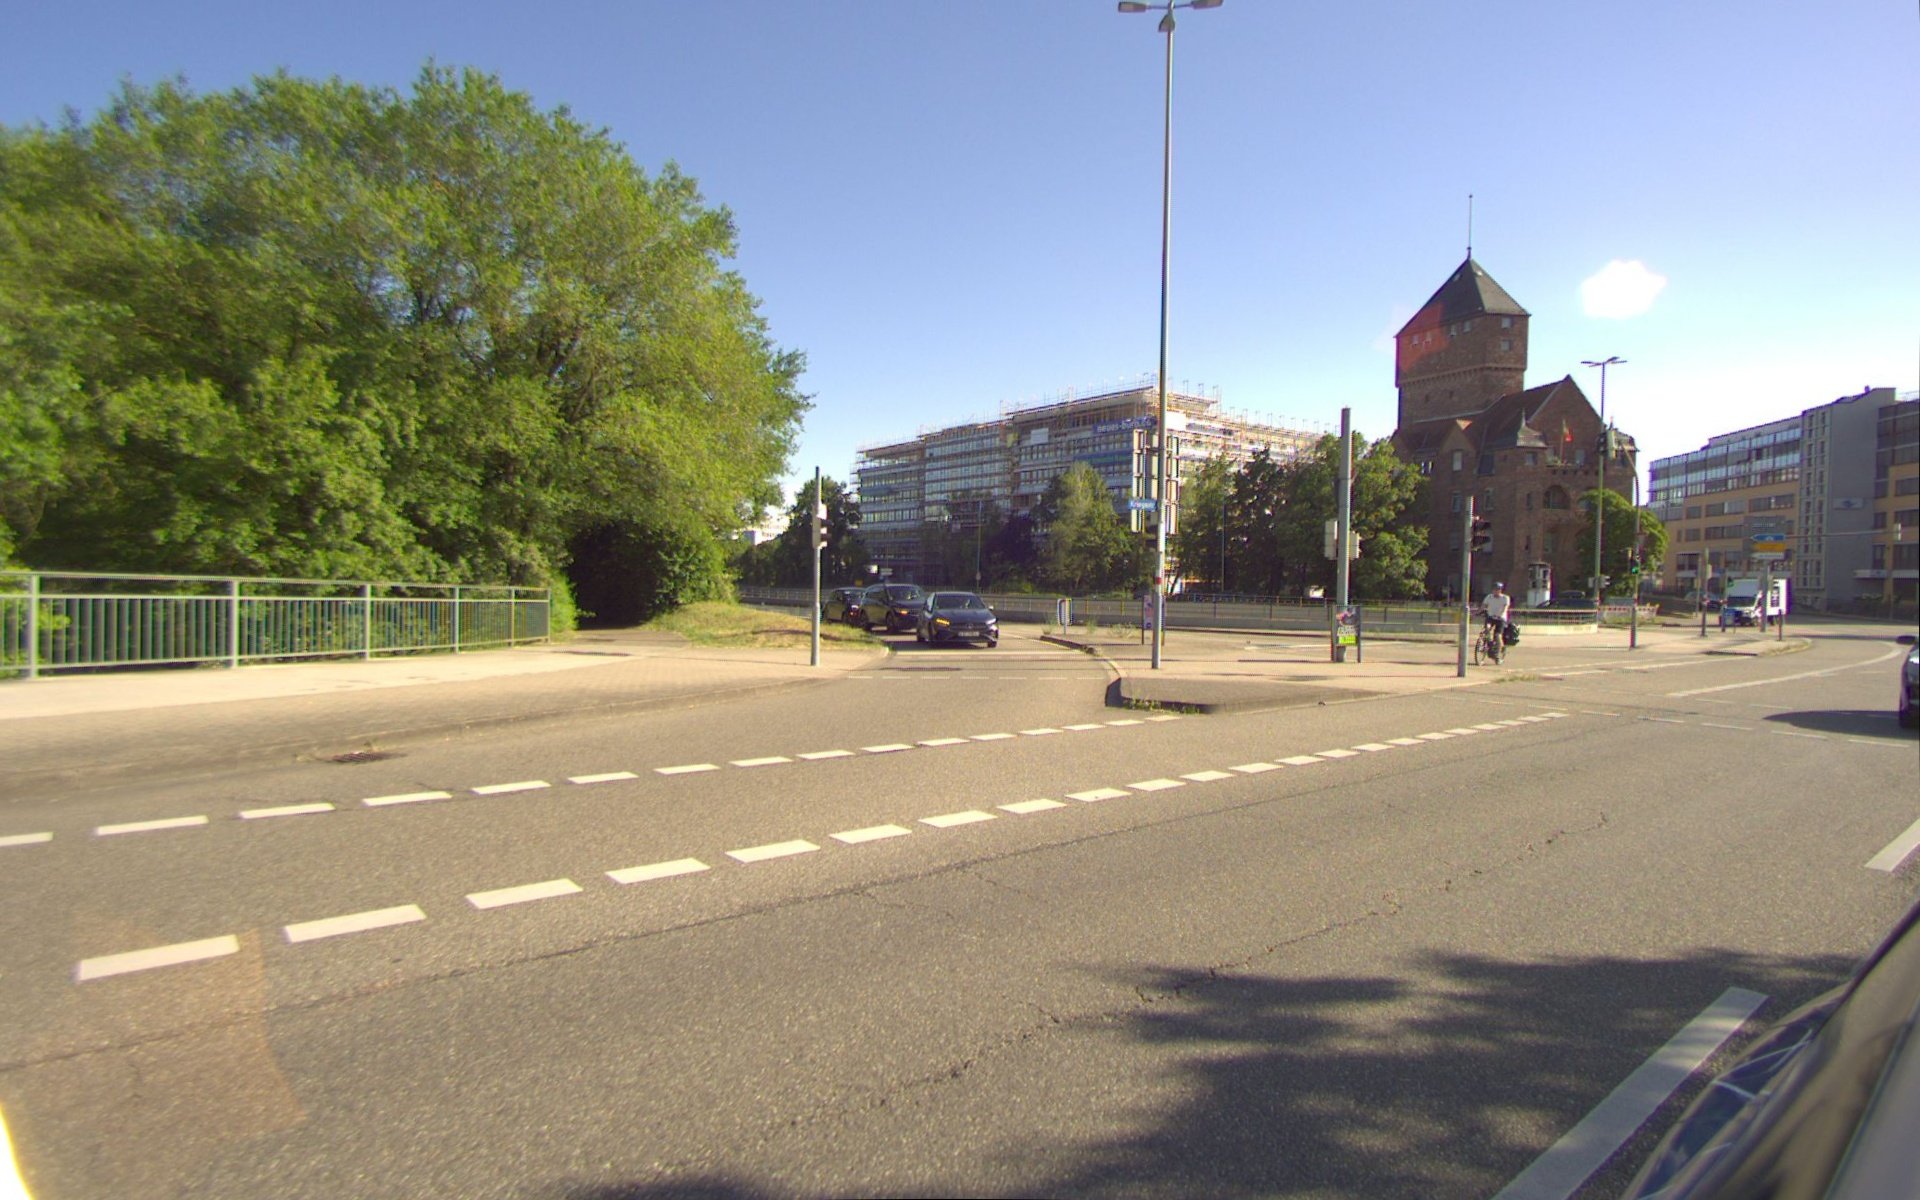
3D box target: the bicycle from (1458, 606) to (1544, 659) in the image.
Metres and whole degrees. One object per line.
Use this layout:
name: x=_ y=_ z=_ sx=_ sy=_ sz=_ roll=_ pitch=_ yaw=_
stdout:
bicycle: x=12.053 y=0.710 z=22.548 sx=1.788 sy=1.116 sz=0.695 roll=0 pitch=0 yaw=-20

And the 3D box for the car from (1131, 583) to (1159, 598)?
car: x=18.146 y=-0.942 z=98.935 sx=1.977 sy=1.472 sz=3.754 roll=2 pitch=1 yaw=22

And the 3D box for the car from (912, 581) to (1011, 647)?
car: x=-0.053 y=0.317 z=27.299 sx=1.822 sy=1.571 sz=4.254 roll=1 pitch=1 yaw=-12

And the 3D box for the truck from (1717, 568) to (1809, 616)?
truck: x=54.944 y=-0.557 z=69.187 sx=6.820 sy=3.167 sz=2.507 roll=0 pitch=1 yaw=-30

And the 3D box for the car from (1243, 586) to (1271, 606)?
car: x=25.344 y=-0.365 z=86.311 sx=1.977 sy=1.581 sz=3.754 roll=2 pitch=1 yaw=22

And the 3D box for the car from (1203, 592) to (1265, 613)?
car: x=21.813 y=0.175 z=80.701 sx=1.844 sy=1.489 sz=4.637 roll=0 pitch=2 yaw=-35

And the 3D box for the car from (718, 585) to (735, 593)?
car: x=-42.520 y=-1.979 z=184.161 sx=1.960 sy=1.415 sz=4.005 roll=-2 pitch=2 yaw=-29

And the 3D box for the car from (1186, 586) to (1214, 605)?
car: x=21.904 y=-0.426 z=92.285 sx=1.977 sy=1.581 sz=3.754 roll=2 pitch=1 yaw=22

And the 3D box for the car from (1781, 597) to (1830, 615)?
car: x=82.613 y=0.588 z=98.923 sx=1.851 sy=1.542 sz=4.148 roll=1 pitch=1 yaw=11

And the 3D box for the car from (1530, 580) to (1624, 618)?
car: x=39.659 y=-0.098 z=65.153 sx=4.714 sy=2.289 sz=1.944 roll=1 pitch=1 yaw=14

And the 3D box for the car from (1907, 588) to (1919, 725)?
car: x=13.585 y=0.697 z=12.912 sx=4.126 sy=1.641 sz=1.877 roll=-1 pitch=2 yaw=-43

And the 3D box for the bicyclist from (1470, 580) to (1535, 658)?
bicyclist: x=12.088 y=0.411 z=22.546 sx=1.089 sy=1.680 sz=0.728 roll=0 pitch=0 yaw=-20

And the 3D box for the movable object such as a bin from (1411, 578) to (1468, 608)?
movable object such as a bin: x=40.272 y=-0.621 z=84.997 sx=1.958 sy=2.439 sz=4.009 roll=1 pitch=1 yaw=-22

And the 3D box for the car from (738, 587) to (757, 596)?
car: x=-35.503 y=-1.384 z=168.777 sx=1.960 sy=1.415 sz=4.005 roll=-2 pitch=2 yaw=-29

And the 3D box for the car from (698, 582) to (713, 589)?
car: x=-51.551 y=-2.938 z=204.857 sx=1.960 sy=1.415 sz=4.005 roll=-2 pitch=2 yaw=-29

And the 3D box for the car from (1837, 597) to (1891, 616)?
car: x=81.629 y=0.597 z=91.454 sx=1.611 sy=1.542 sz=4.152 roll=1 pitch=1 yaw=8

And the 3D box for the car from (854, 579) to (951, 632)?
car: x=-2.052 y=0.134 z=34.504 sx=1.822 sy=1.636 sz=4.688 roll=1 pitch=1 yaw=-23

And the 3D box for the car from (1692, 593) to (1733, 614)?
car: x=68.657 y=0.270 z=92.399 sx=1.737 sy=1.781 sz=4.751 roll=2 pitch=1 yaw=22

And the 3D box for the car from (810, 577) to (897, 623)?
car: x=-4.284 y=-0.032 z=39.980 sx=1.823 sy=1.636 sz=4.686 roll=1 pitch=1 yaw=-27
